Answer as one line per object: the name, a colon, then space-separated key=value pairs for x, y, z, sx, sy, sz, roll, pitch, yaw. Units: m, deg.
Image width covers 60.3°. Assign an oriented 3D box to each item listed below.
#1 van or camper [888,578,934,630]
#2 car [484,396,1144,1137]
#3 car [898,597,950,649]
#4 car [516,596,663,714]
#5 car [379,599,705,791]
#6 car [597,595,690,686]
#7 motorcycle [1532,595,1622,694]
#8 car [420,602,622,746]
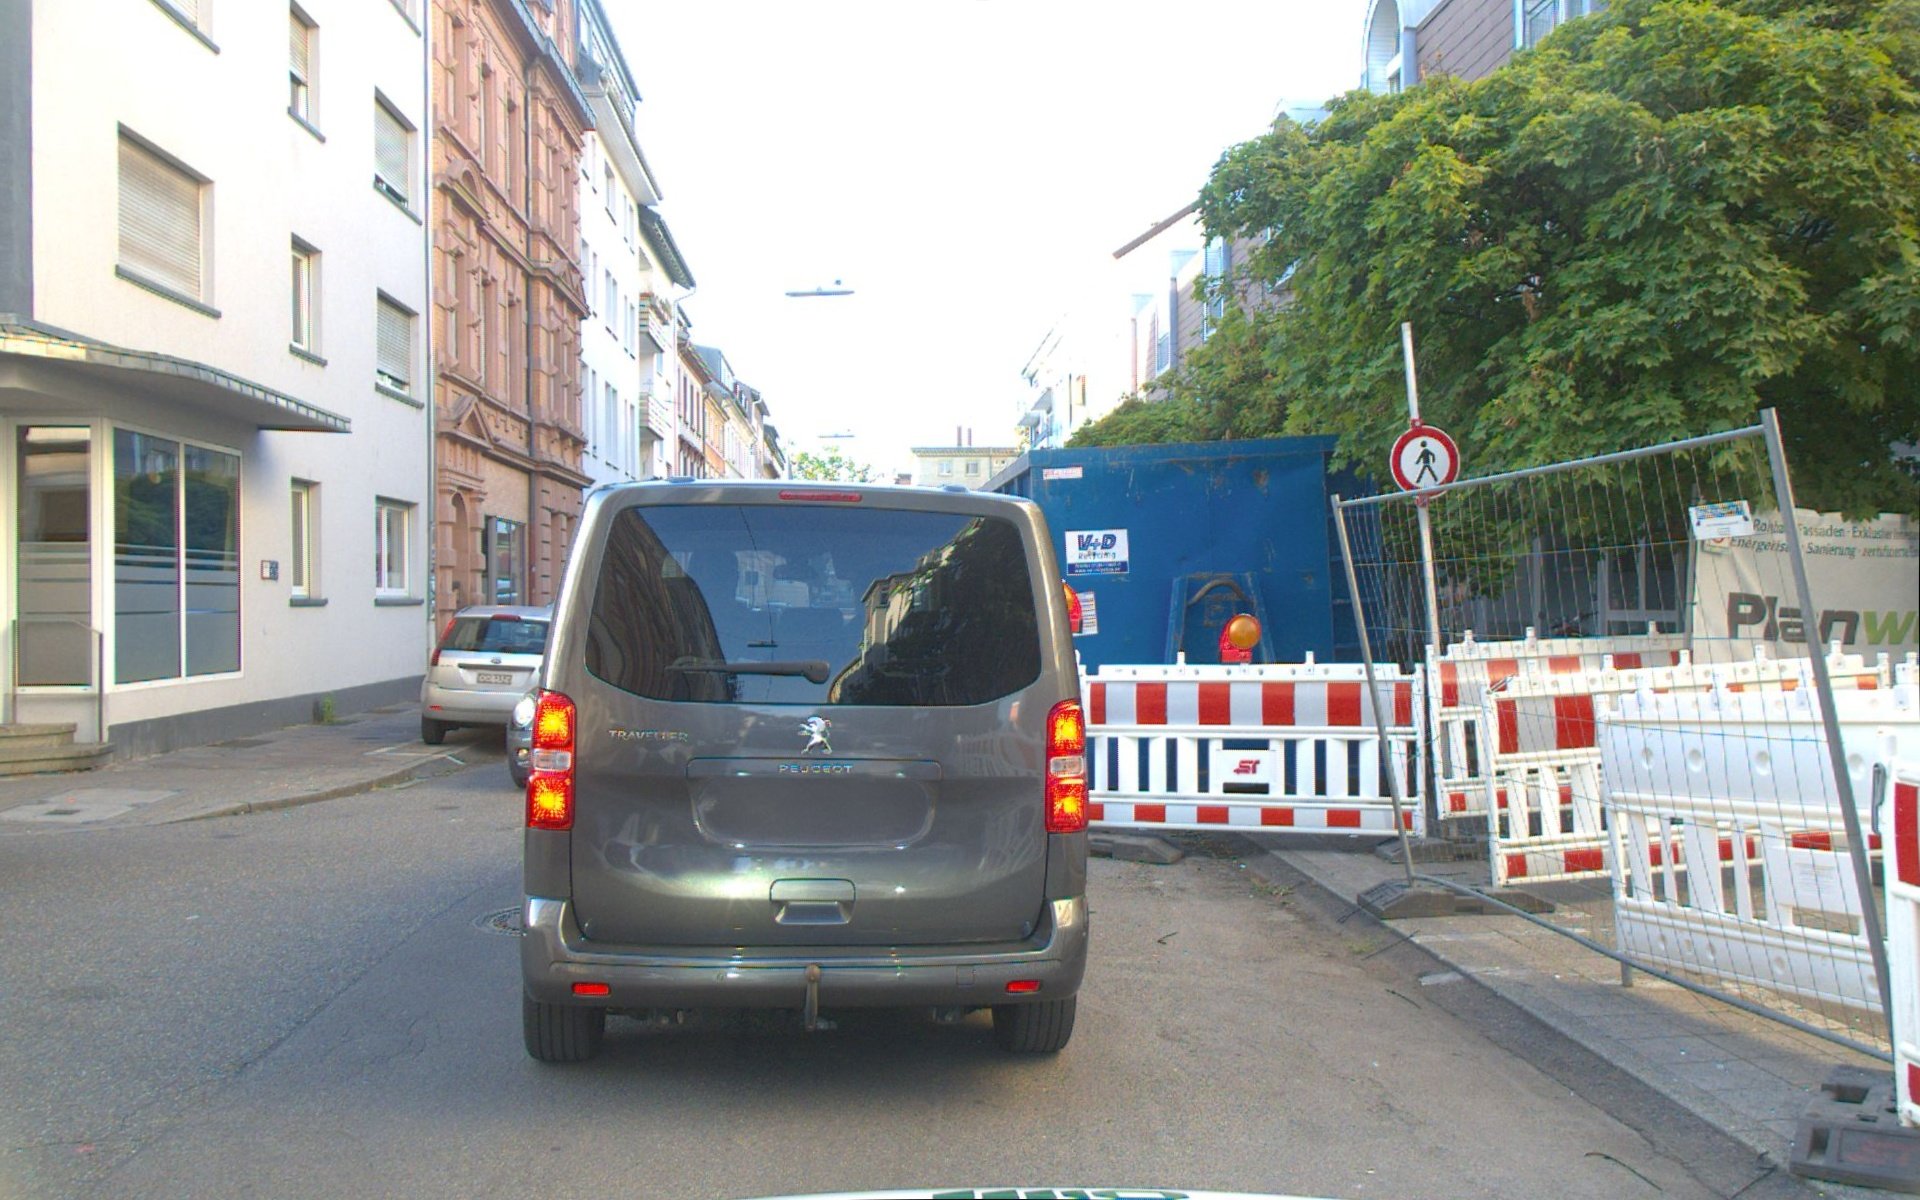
van or camper: x=-2.727 y=0.221 z=90.304 sx=2.059 sy=2.647 sz=7.504 roll=-1 pitch=0 yaw=-5
car: x=-0.548 y=0.457 z=6.764 sx=1.821 sy=2.049 sz=3.997 roll=-2 pitch=0 yaw=-4
car: x=-1.260 y=0.765 z=57.517 sx=1.713 sy=1.713 sz=4.524 roll=0 pitch=0 yaw=-1
car: x=-5.313 y=0.747 z=24.114 sx=1.525 sy=1.535 sz=3.594 roll=2 pitch=0 yaw=-4
car: x=-3.590 y=0.744 z=14.998 sx=1.953 sy=1.512 sz=4.000 roll=0 pitch=0 yaw=0
car: x=-5.843 y=0.712 z=30.767 sx=1.368 sy=1.616 sz=2.791 roll=0 pitch=0 yaw=-4
motorcycle: x=8.218 y=0.577 z=22.118 sx=0.851 sy=1.244 sz=2.459 roll=-1 pitch=-1 yaw=14
car: x=-4.832 y=0.751 z=18.635 sx=1.600 sy=1.455 sz=3.551 roll=0 pitch=0 yaw=-5
